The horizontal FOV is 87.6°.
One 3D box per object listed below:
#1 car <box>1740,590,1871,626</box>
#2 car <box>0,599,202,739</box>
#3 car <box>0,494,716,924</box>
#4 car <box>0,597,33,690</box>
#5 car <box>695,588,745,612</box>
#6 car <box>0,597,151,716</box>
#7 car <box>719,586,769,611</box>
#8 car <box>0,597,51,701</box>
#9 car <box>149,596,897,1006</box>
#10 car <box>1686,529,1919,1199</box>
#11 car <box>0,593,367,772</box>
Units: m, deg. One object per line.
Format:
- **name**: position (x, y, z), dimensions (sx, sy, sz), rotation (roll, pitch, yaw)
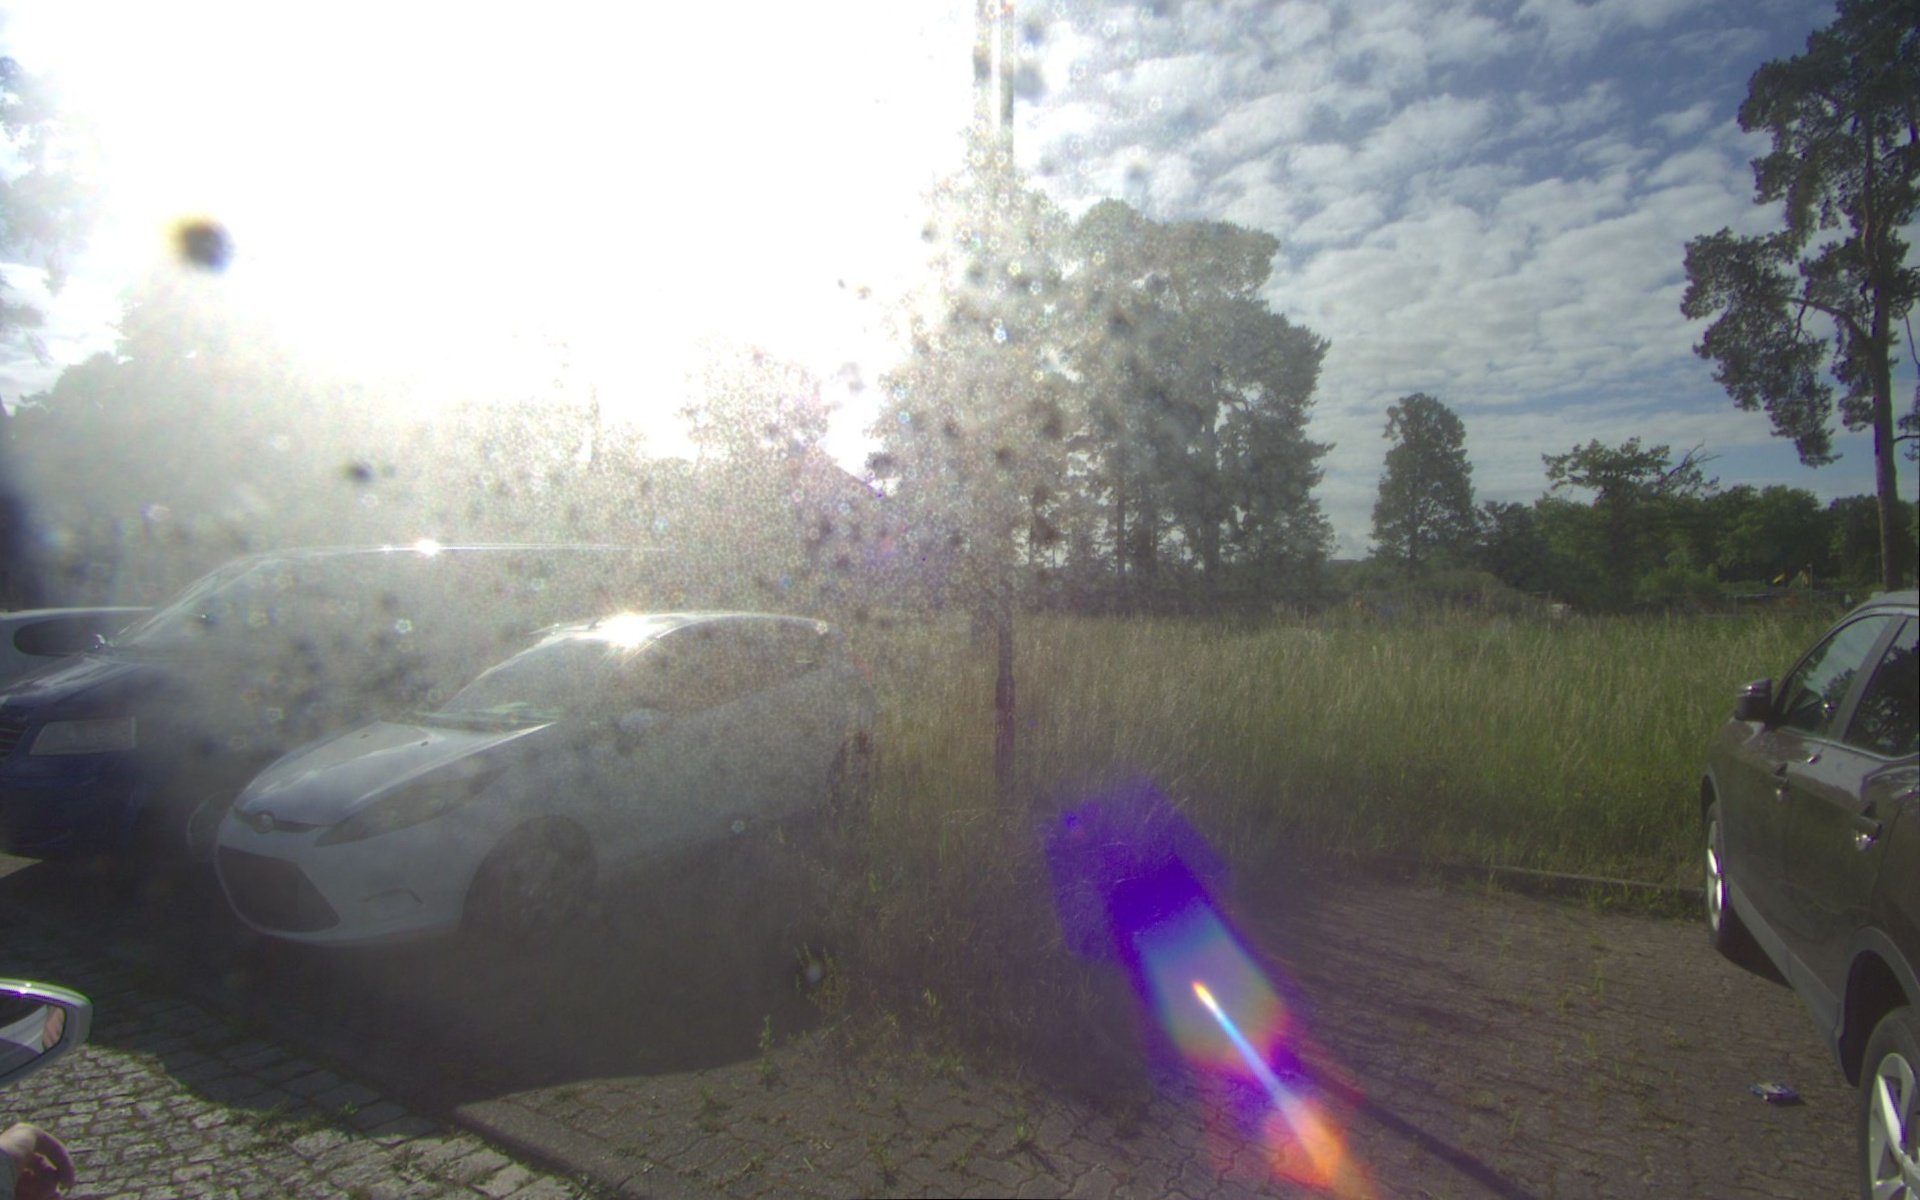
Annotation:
- **car**: position (53.869, 0.556, 63.928), dimensions (2.341, 2.199, 5.986), rotation (0, -1, -29)
- **car**: position (-11.074, 0.764, 11.296), dimensions (1.621, 1.487, 3.668), rotation (0, 1, 31)
- **car**: position (-4.175, 0.517, 7.296), dimensions (2.052, 2.040, 4.671), rotation (0, 0, 29)
- **car**: position (-17.426, 0.729, 15.952), dimensions (1.621, 1.550, 3.597), rotation (0, 0, 31)
- **car**: position (-20.608, -0.023, 86.117), dimensions (1.971, 2.040, 3.979), rotation (0, 0, 32)
- **car**: position (-13.204, 0.733, 13.318), dimensions (1.621, 1.550, 3.472), rotation (0, 0, 31)
- **car**: position (-18.213, -0.141, 84.464), dimensions (1.971, 2.040, 3.979), rotation (0, 0, 32)
- **car**: position (-15.645, 0.729, 14.415), dimensions (1.621, 1.550, 3.472), rotation (0, 0, 31)
- **car**: position (-2.051, 0.744, 5.753), dimensions (1.620, 1.508, 3.713), rotation (0, 1, 30)
- **car**: position (3.240, 0.693, 2.649), dimensions (1.745, 1.643, 3.929), rotation (0, 0, 31)
- **car**: position (-8.398, 0.718, 10.209), dimensions (1.622, 1.486, 3.684), rotation (0, 2, 33)
